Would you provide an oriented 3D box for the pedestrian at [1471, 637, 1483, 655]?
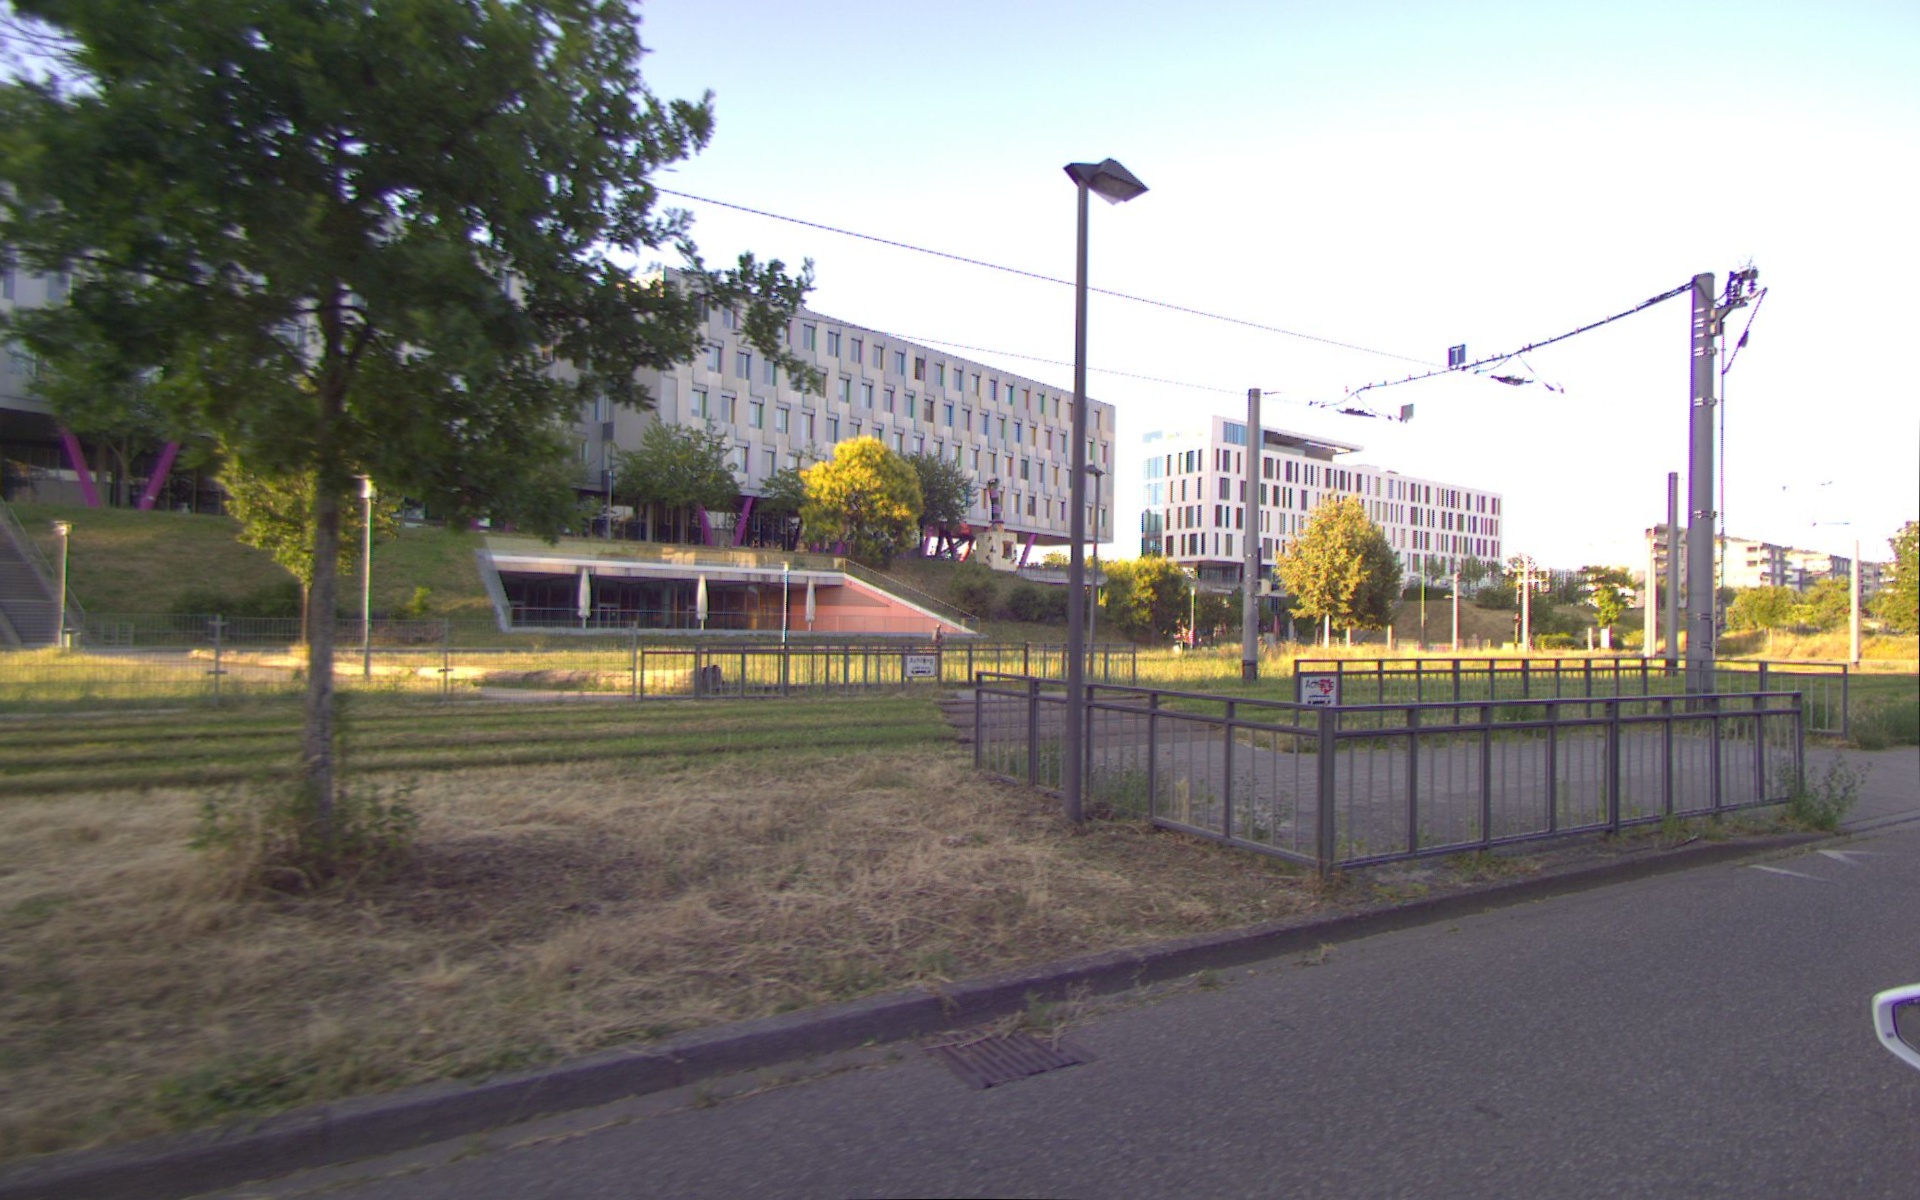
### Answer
[{"bbox_3d":[51.171,4.555,99.395,0.803,1.810,0.784,2,-2,-26],"label":"pedestrian"}]

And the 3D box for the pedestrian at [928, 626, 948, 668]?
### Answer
[{"bbox_3d":[-1.130,2.412,51.721,0.781,2.110,0.613,2,0,-31],"label":"pedestrian"}]
